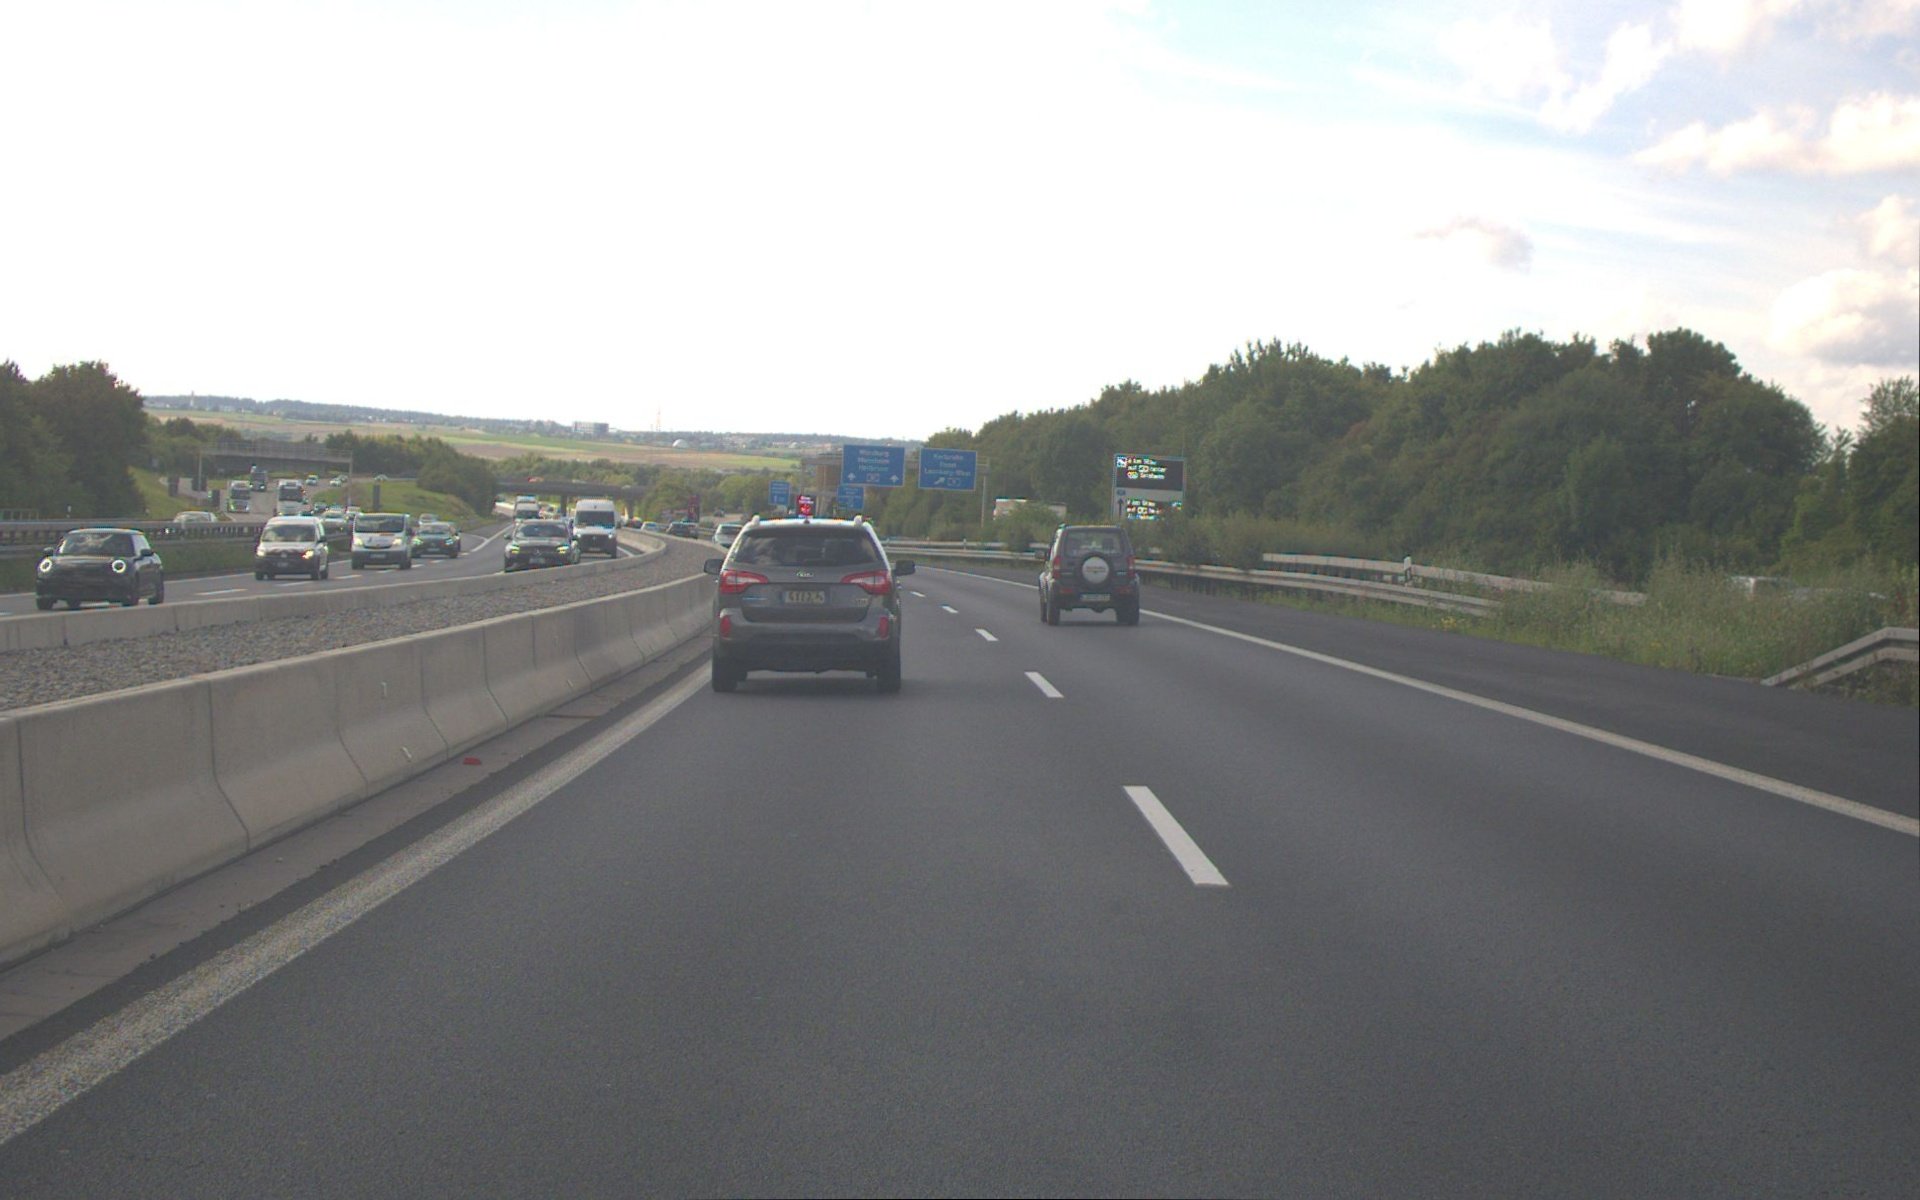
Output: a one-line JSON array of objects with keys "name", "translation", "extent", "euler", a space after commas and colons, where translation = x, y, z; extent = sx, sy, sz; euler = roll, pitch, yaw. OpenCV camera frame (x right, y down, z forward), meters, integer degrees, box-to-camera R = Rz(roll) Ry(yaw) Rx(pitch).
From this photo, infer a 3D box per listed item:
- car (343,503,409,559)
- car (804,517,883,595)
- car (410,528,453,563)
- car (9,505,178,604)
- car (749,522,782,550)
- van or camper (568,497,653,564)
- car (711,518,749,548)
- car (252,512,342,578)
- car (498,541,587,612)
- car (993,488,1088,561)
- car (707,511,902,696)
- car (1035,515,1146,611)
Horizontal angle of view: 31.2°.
[{"name": "car", "translation": [-20.307, -2.407, 119.669], "extent": [1.914, 1.899, 5.288], "euler": [0, 1, -6]}, {"name": "car", "translation": [-3.310, -1.271, 98.327], "extent": [2.030, 2.144, 4.000], "euler": [1, 1, 1]}, {"name": "car", "translation": [-22.810, -2.366, 148.243], "extent": [1.784, 1.412, 4.998], "euler": [1, 1, -9]}, {"name": "car", "translation": [-15.579, -0.827, 62.001], "extent": [1.993, 1.685, 4.373], "euler": [1, 1, -1]}, {"name": "car", "translation": [-14.448, -4.766, 255.011], "extent": [1.993, 1.922, 4.001], "euler": [1, 0, -10]}, {"name": "van or camper", "translation": [-15.741, -3.124, 155.247], "extent": [3.335, 2.906, 7.467], "euler": [1, 1, -2]}, {"name": "car", "translation": [-13.812, -4.020, 206.574], "extent": [1.993, 1.678, 4.001], "euler": [1, 0, -7]}, {"name": "car", "translation": [-18.885, -1.585, 98.079], "extent": [1.993, 1.808, 4.242], "euler": [1, 1, -4]}, {"name": "car", "translation": [-12.032, -0.706, 99.407], "extent": [1.993, 1.913, 5.149], "euler": [2, 1, -1]}, {"name": "car", "translation": [5.050, -4.754, 219.283], "extent": [4.727, 4.251, 11.405], "euler": [1, 0, -5]}, {"name": "car", "translation": [-1.552, 0.016, 35.202], "extent": [1.817, 1.730, 5.187], "euler": [1, 0, -2]}, {"name": "car", "translation": [2.258, -0.675, 60.422], "extent": [1.587, 1.591, 4.096], "euler": [1, 1, -2]}]
